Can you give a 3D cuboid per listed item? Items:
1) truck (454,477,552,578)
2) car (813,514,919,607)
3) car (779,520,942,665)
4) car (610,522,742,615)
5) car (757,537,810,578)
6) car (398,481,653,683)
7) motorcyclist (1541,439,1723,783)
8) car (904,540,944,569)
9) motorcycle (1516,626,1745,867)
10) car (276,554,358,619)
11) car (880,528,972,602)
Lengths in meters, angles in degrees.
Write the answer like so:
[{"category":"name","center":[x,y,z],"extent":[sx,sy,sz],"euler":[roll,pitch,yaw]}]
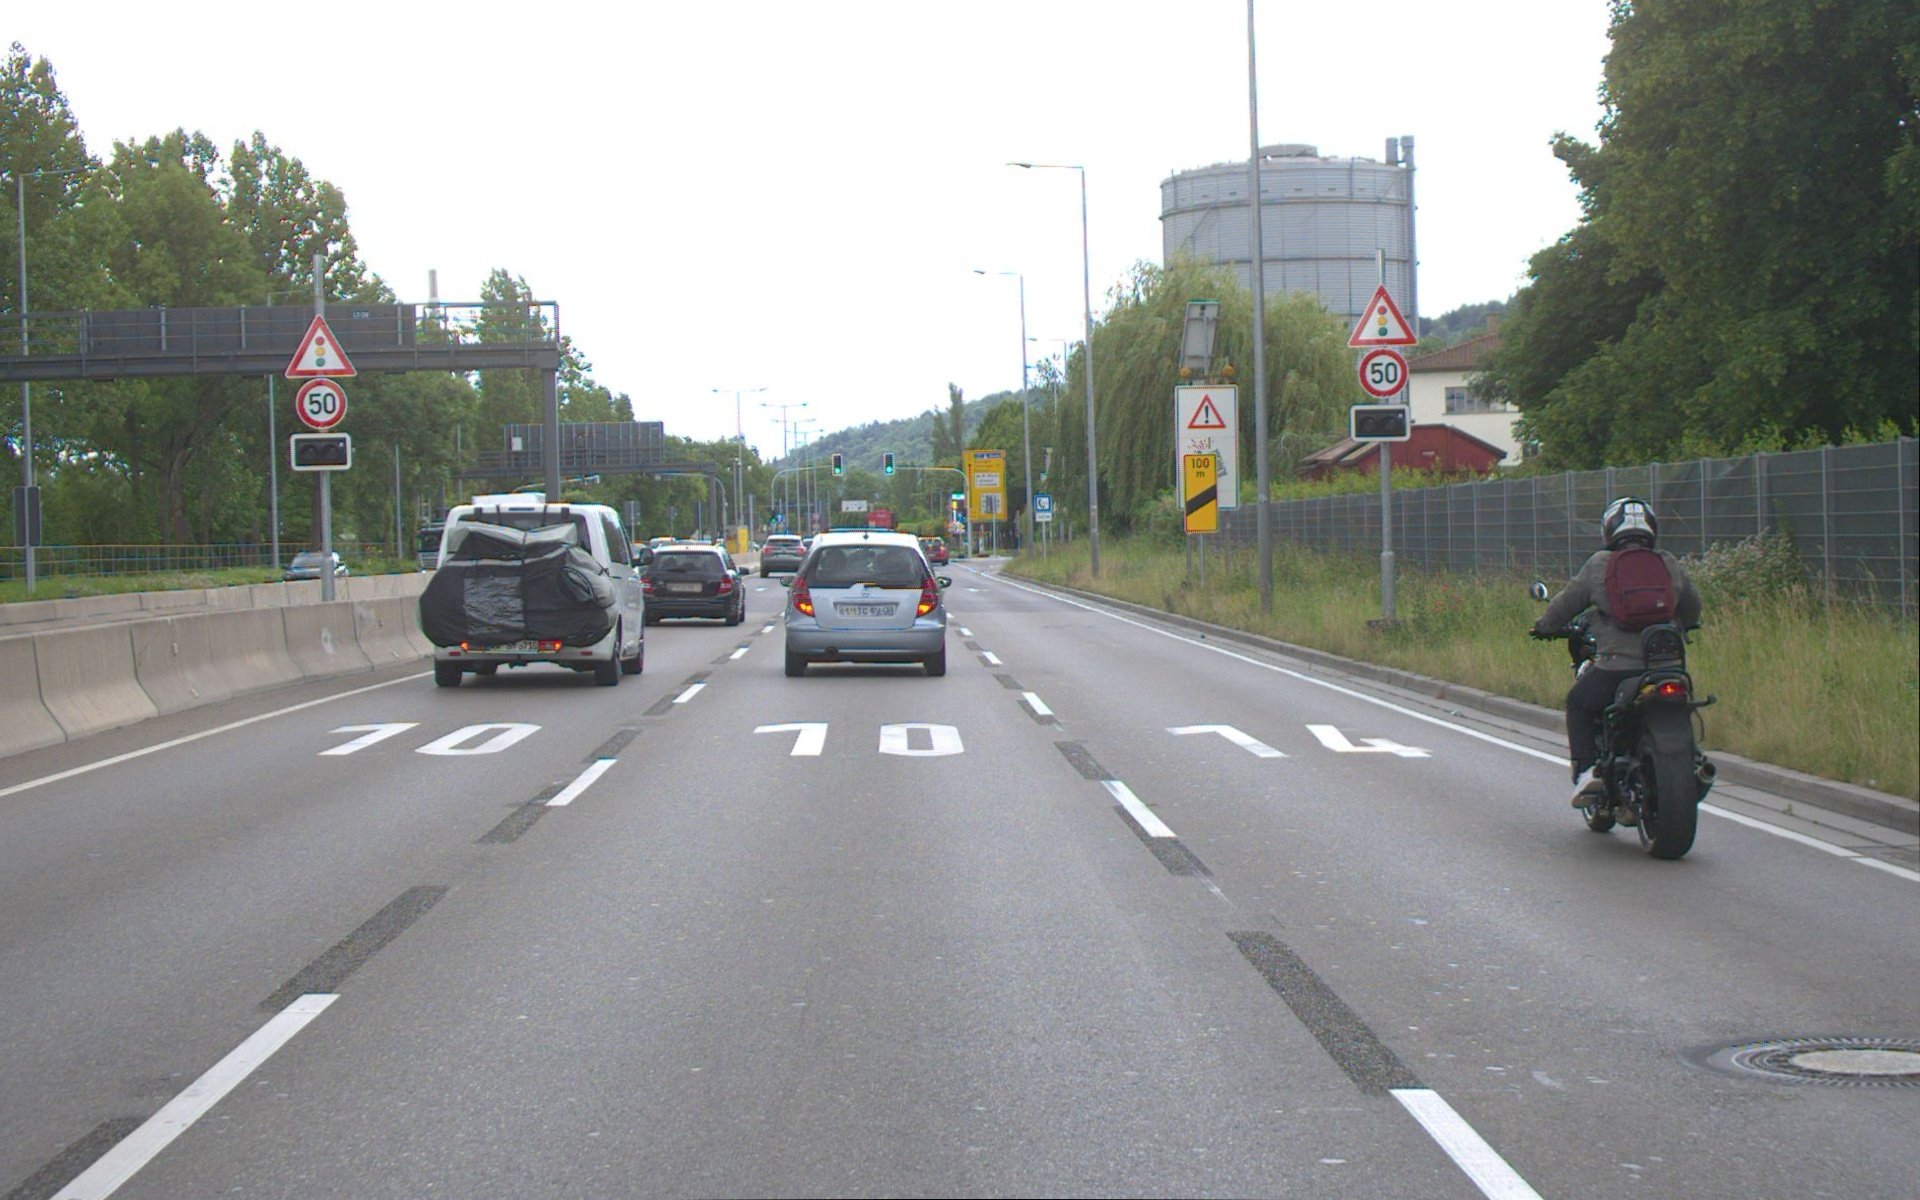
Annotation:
[{"category":"truck","center":[-14.718,-2.322,111.023],"extent":[2.403,3.096,7.202],"euler":[1,1,-2]},{"category":"car","center":[-1.754,-0.752,65.060],"extent":[1.907,1.678,4.000],"euler":[1,1,-1]},{"category":"car","center":[-1.116,-0.110,38.619],"extent":[1.710,1.525,4.000],"euler":[1,1,-2]},{"category":"car","center":[-4.929,-0.559,60.162],"extent":[1.993,1.546,4.000],"euler":[1,1,0]},{"category":"car","center":[-6.778,-1.637,132.340],"extent":[1.993,1.546,4.000],"euler":[1,1,-2]},{"category":"car","center":[-4.427,-0.215,35.768],"extent":[2.214,1.919,5.003],"euler":[1,1,-3]},{"category":"motorcyclist","center":[3.221,0.046,16.532],"extent":[0.685,1.604,0.845],"euler":[1,1,1]},{"category":"car","center":[-1.950,-2.442,184.617],"extent":[1.993,1.546,4.000],"euler":[1,1,-2]},{"category":"motorcycle","center":[3.208,0.671,16.615],"extent":[0.706,1.036,2.027],"euler":[1,1,0]},{"category":"car","center":[-20.396,-0.444,109.141],"extent":[1.993,2.007,4.001],"euler":[1,1,-3]},{"category":"car","center":[-0.740,-0.731,71.504],"extent":[1.840,1.459,4.000],"euler":[1,1,-1]}]
